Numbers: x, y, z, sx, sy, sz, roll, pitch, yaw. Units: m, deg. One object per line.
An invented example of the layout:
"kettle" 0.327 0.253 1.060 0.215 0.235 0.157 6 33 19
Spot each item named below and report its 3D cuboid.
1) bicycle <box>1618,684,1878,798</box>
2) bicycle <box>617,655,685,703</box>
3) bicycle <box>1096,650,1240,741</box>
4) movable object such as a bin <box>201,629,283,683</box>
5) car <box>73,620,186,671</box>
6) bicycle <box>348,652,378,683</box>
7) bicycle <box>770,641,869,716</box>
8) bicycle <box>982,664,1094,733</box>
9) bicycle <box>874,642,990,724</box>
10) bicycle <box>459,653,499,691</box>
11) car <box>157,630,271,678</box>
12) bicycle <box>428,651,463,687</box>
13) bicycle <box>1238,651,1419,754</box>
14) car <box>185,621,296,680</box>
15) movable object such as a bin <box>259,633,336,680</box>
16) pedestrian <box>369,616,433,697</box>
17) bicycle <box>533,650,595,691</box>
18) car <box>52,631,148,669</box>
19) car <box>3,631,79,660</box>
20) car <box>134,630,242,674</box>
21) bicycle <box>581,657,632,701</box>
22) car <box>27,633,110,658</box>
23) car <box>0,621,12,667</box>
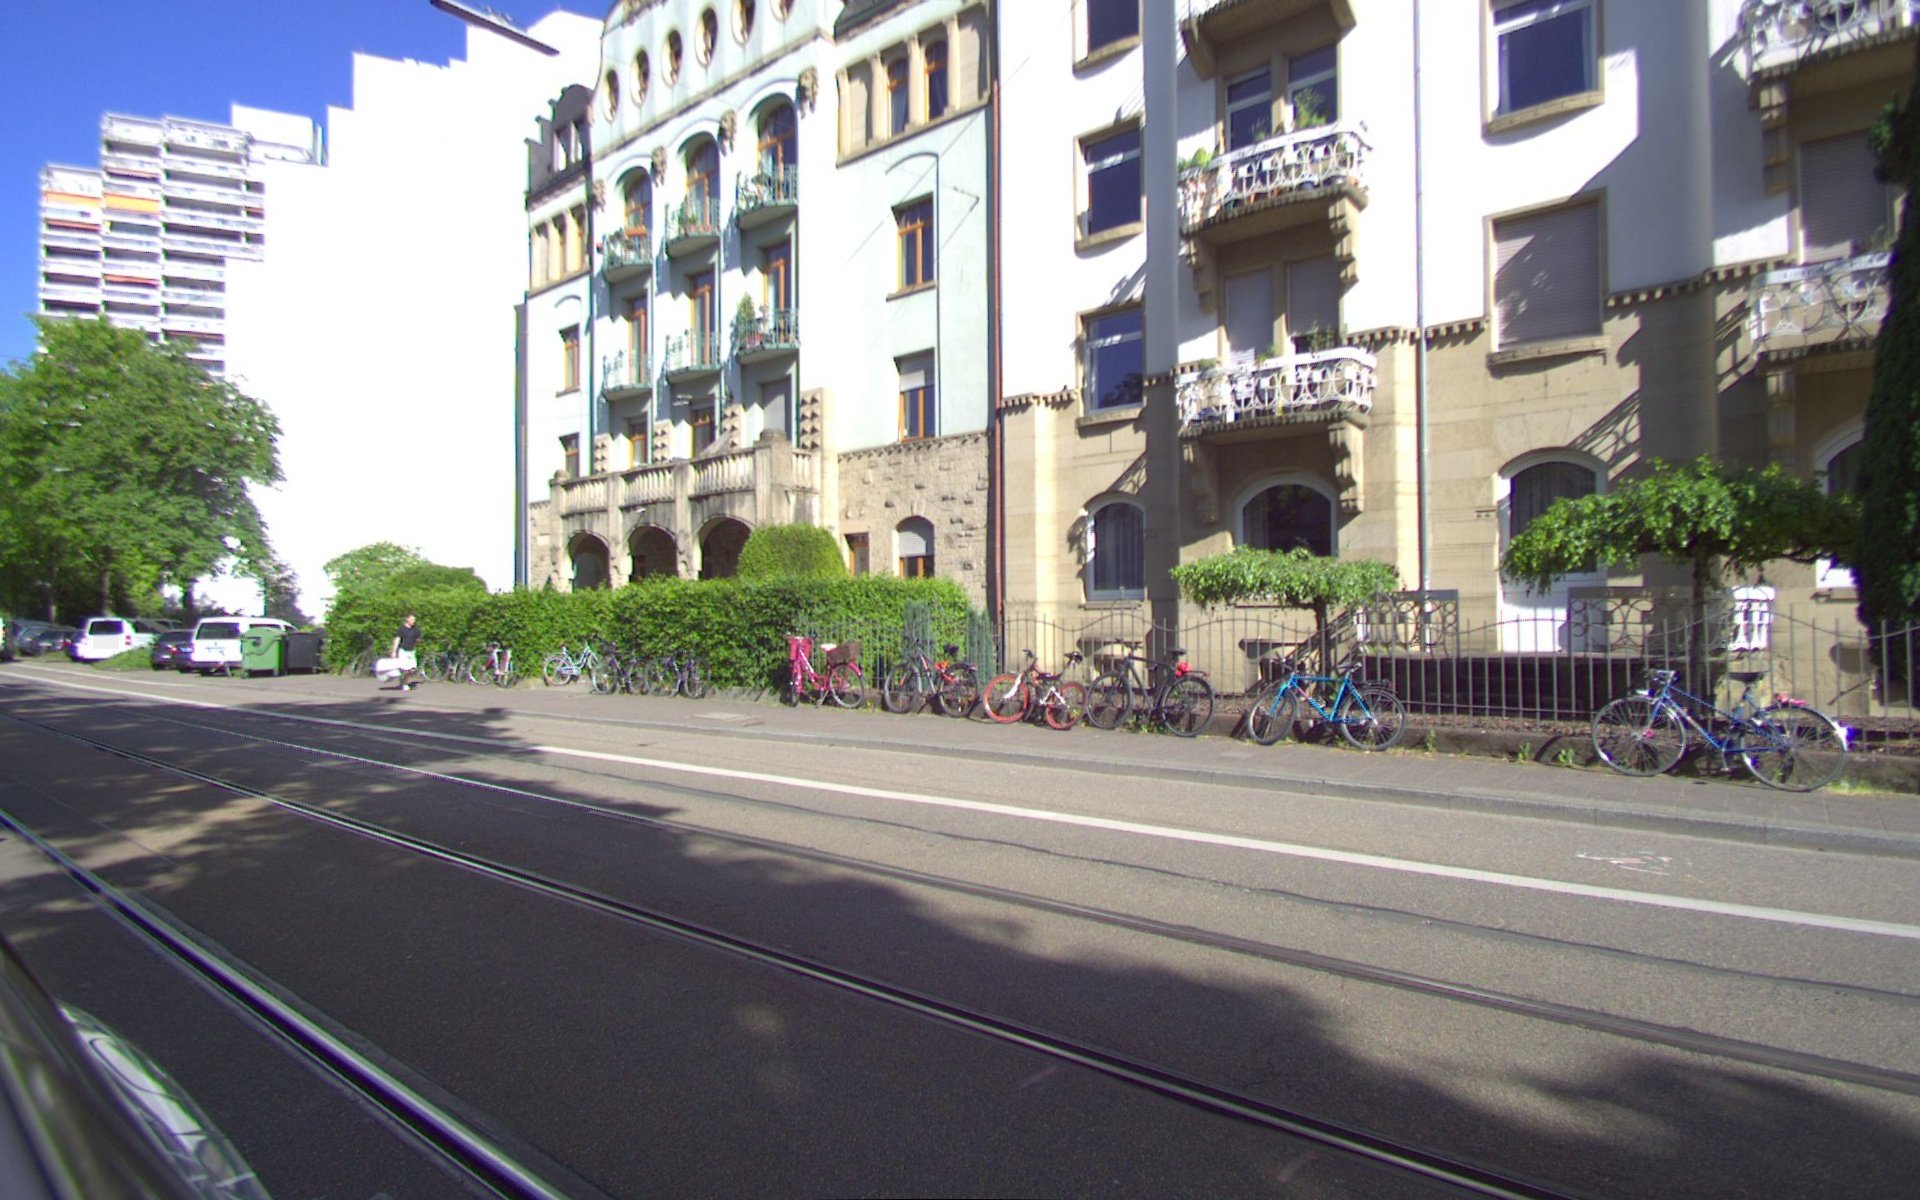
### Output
"bicycle" 6.409 1.120 8.309 1.651 0.767 0.314 -1 0 41
"bicycle" -5.583 1.407 18.244 1.581 0.767 0.400 -1 0 41
"bicycle" 2.396 1.080 11.786 1.648 0.949 0.400 -1 0 41
"movable object such as a bin" -20.817 1.589 29.342 2.095 1.443 1.493 -1 0 41
"car" -33.301 1.794 40.698 1.894 1.885 3.447 -1 0 -4
"bicycle" -15.646 1.760 26.497 1.263 0.767 0.293 -1 0 41
"bicycle" -2.164 1.169 15.444 1.815 1.031 0.400 -1 0 41
"bicycle" 0.967 1.226 12.861 1.542 0.767 0.314 -1 0 41
"bicycle" -0.411 1.117 14.034 1.815 1.031 0.400 -1 0 41
"bicycle" -10.613 1.582 22.327 1.263 0.767 0.314 -1 0 41
"car" -25.134 1.797 34.166 1.451 1.446 2.734 -1 0 24
"bicycle" -11.957 1.600 23.509 1.263 0.767 0.293 -1 0 41
"bicycle" 3.828 1.039 10.607 1.748 0.949 0.400 -1 0 41
"car" -22.832 1.614 32.236 1.438 1.787 3.189 -1 -3 -5
"movable object such as a bin" -20.464 1.717 31.265 2.095 1.326 1.482 -1 0 41
"pedestrian" -12.041 1.195 21.806 0.870 1.640 0.858 -1 4 41
"bicycle" -8.576 1.520 21.947 0.297 0.799 1.246 -1 0 41
"car" -36.172 2.083 42.594 1.451 1.446 2.734 -1 0 24
"car" -48.453 2.377 53.380 1.220 1.436 2.734 -1 0 24
"car" -27.691 1.830 36.355 1.451 1.446 2.734 -1 0 24
"bicycle" -6.726 1.484 19.220 1.263 0.767 0.335 -1 0 41
"car" -42.929 2.178 48.773 1.220 1.097 2.734 -1 0 24
"car" -42.806 1.923 44.121 1.969 1.918 4.006 -1 0 -41
